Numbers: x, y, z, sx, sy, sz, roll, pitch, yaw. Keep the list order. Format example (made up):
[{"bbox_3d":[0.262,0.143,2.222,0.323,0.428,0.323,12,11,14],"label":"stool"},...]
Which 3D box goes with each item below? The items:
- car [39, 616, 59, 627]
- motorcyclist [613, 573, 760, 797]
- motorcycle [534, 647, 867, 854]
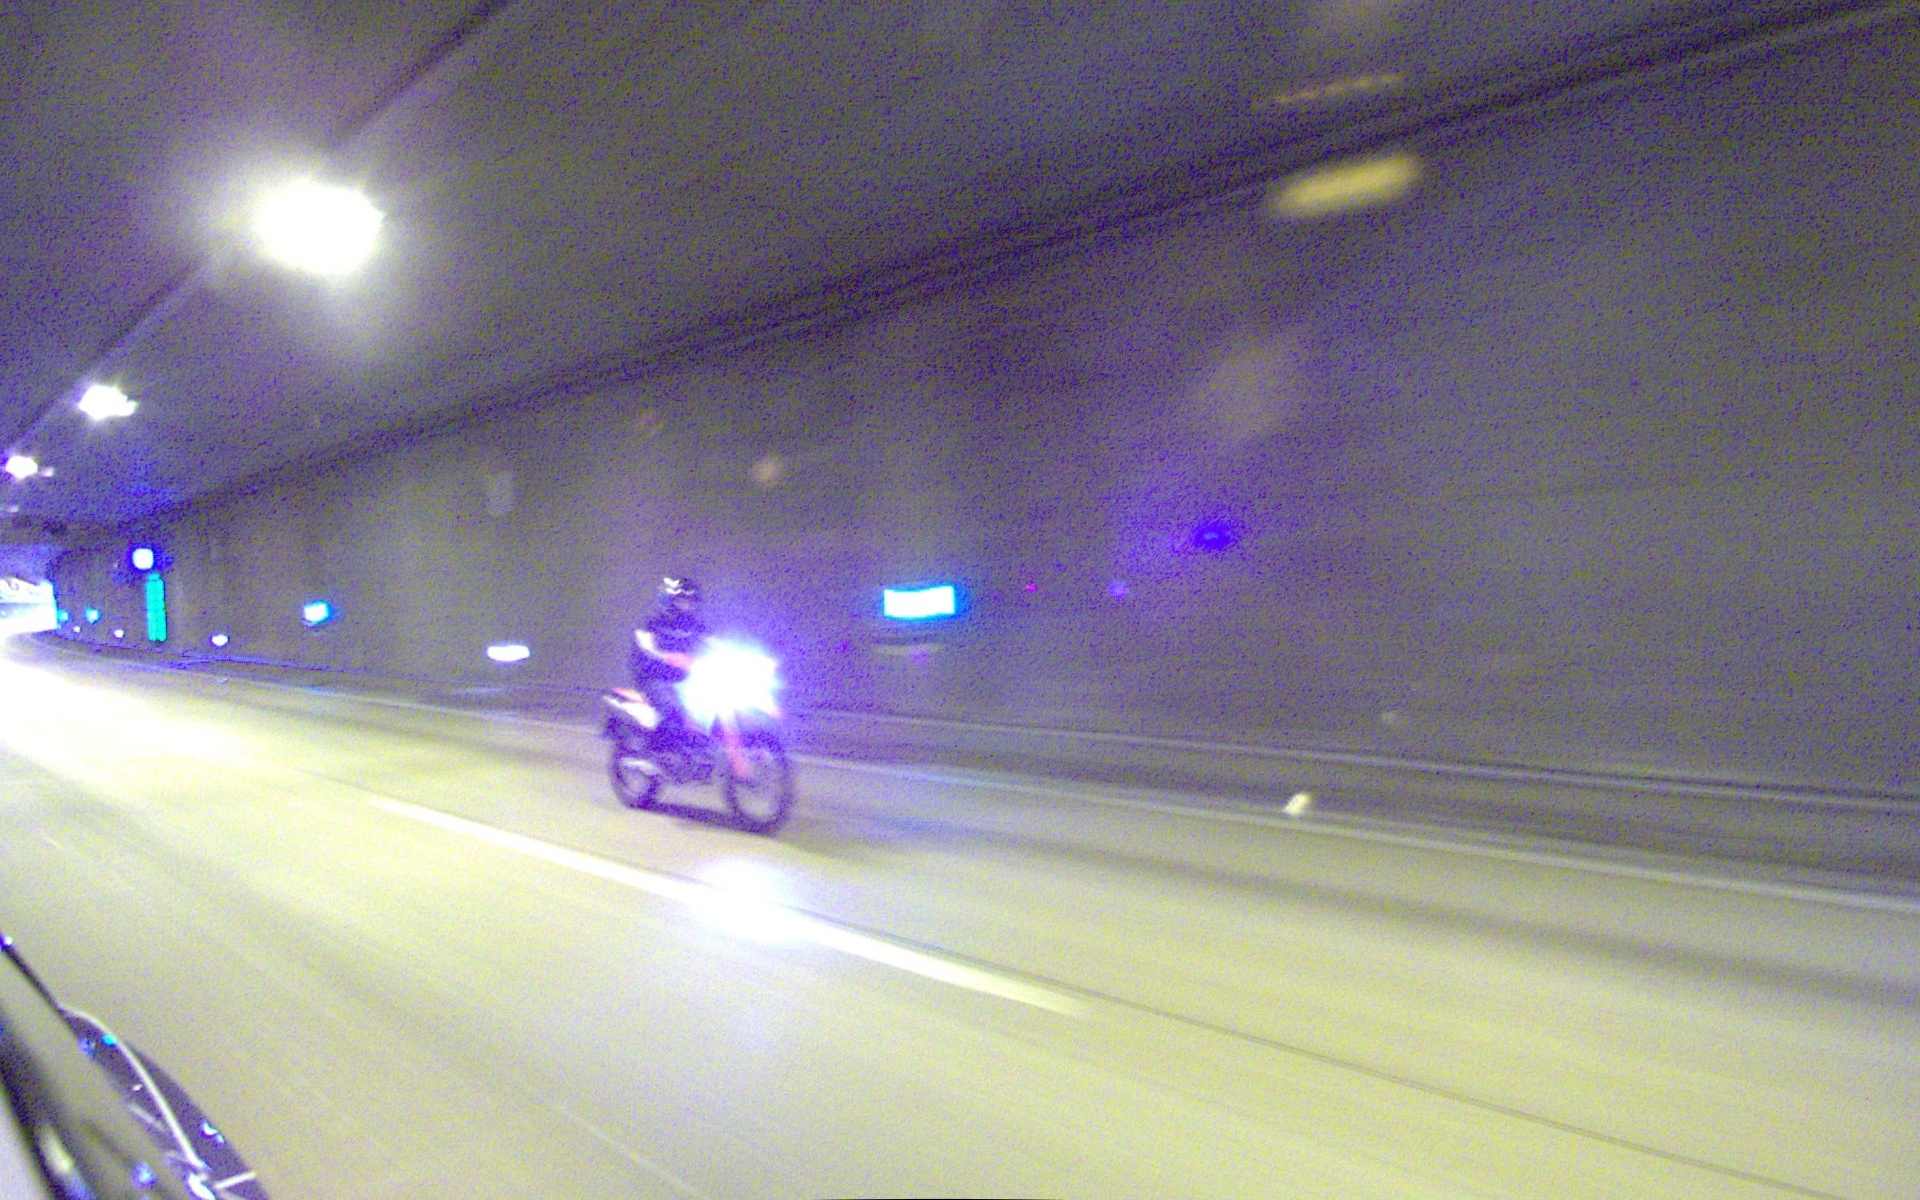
[{"bbox_3d":[-150.000,3.529,166.667,1.967,1.812,4.009,-1,1,-36],"label":"car"},{"bbox_3d":[-1.978,0.576,7.314,0.889,1.500,0.621,-1,-1,38],"label":"motorcyclist"},{"bbox_3d":[-1.906,0.952,7.221,2.424,1.166,1.043,-1,-1,38],"label":"motorcycle"}]
